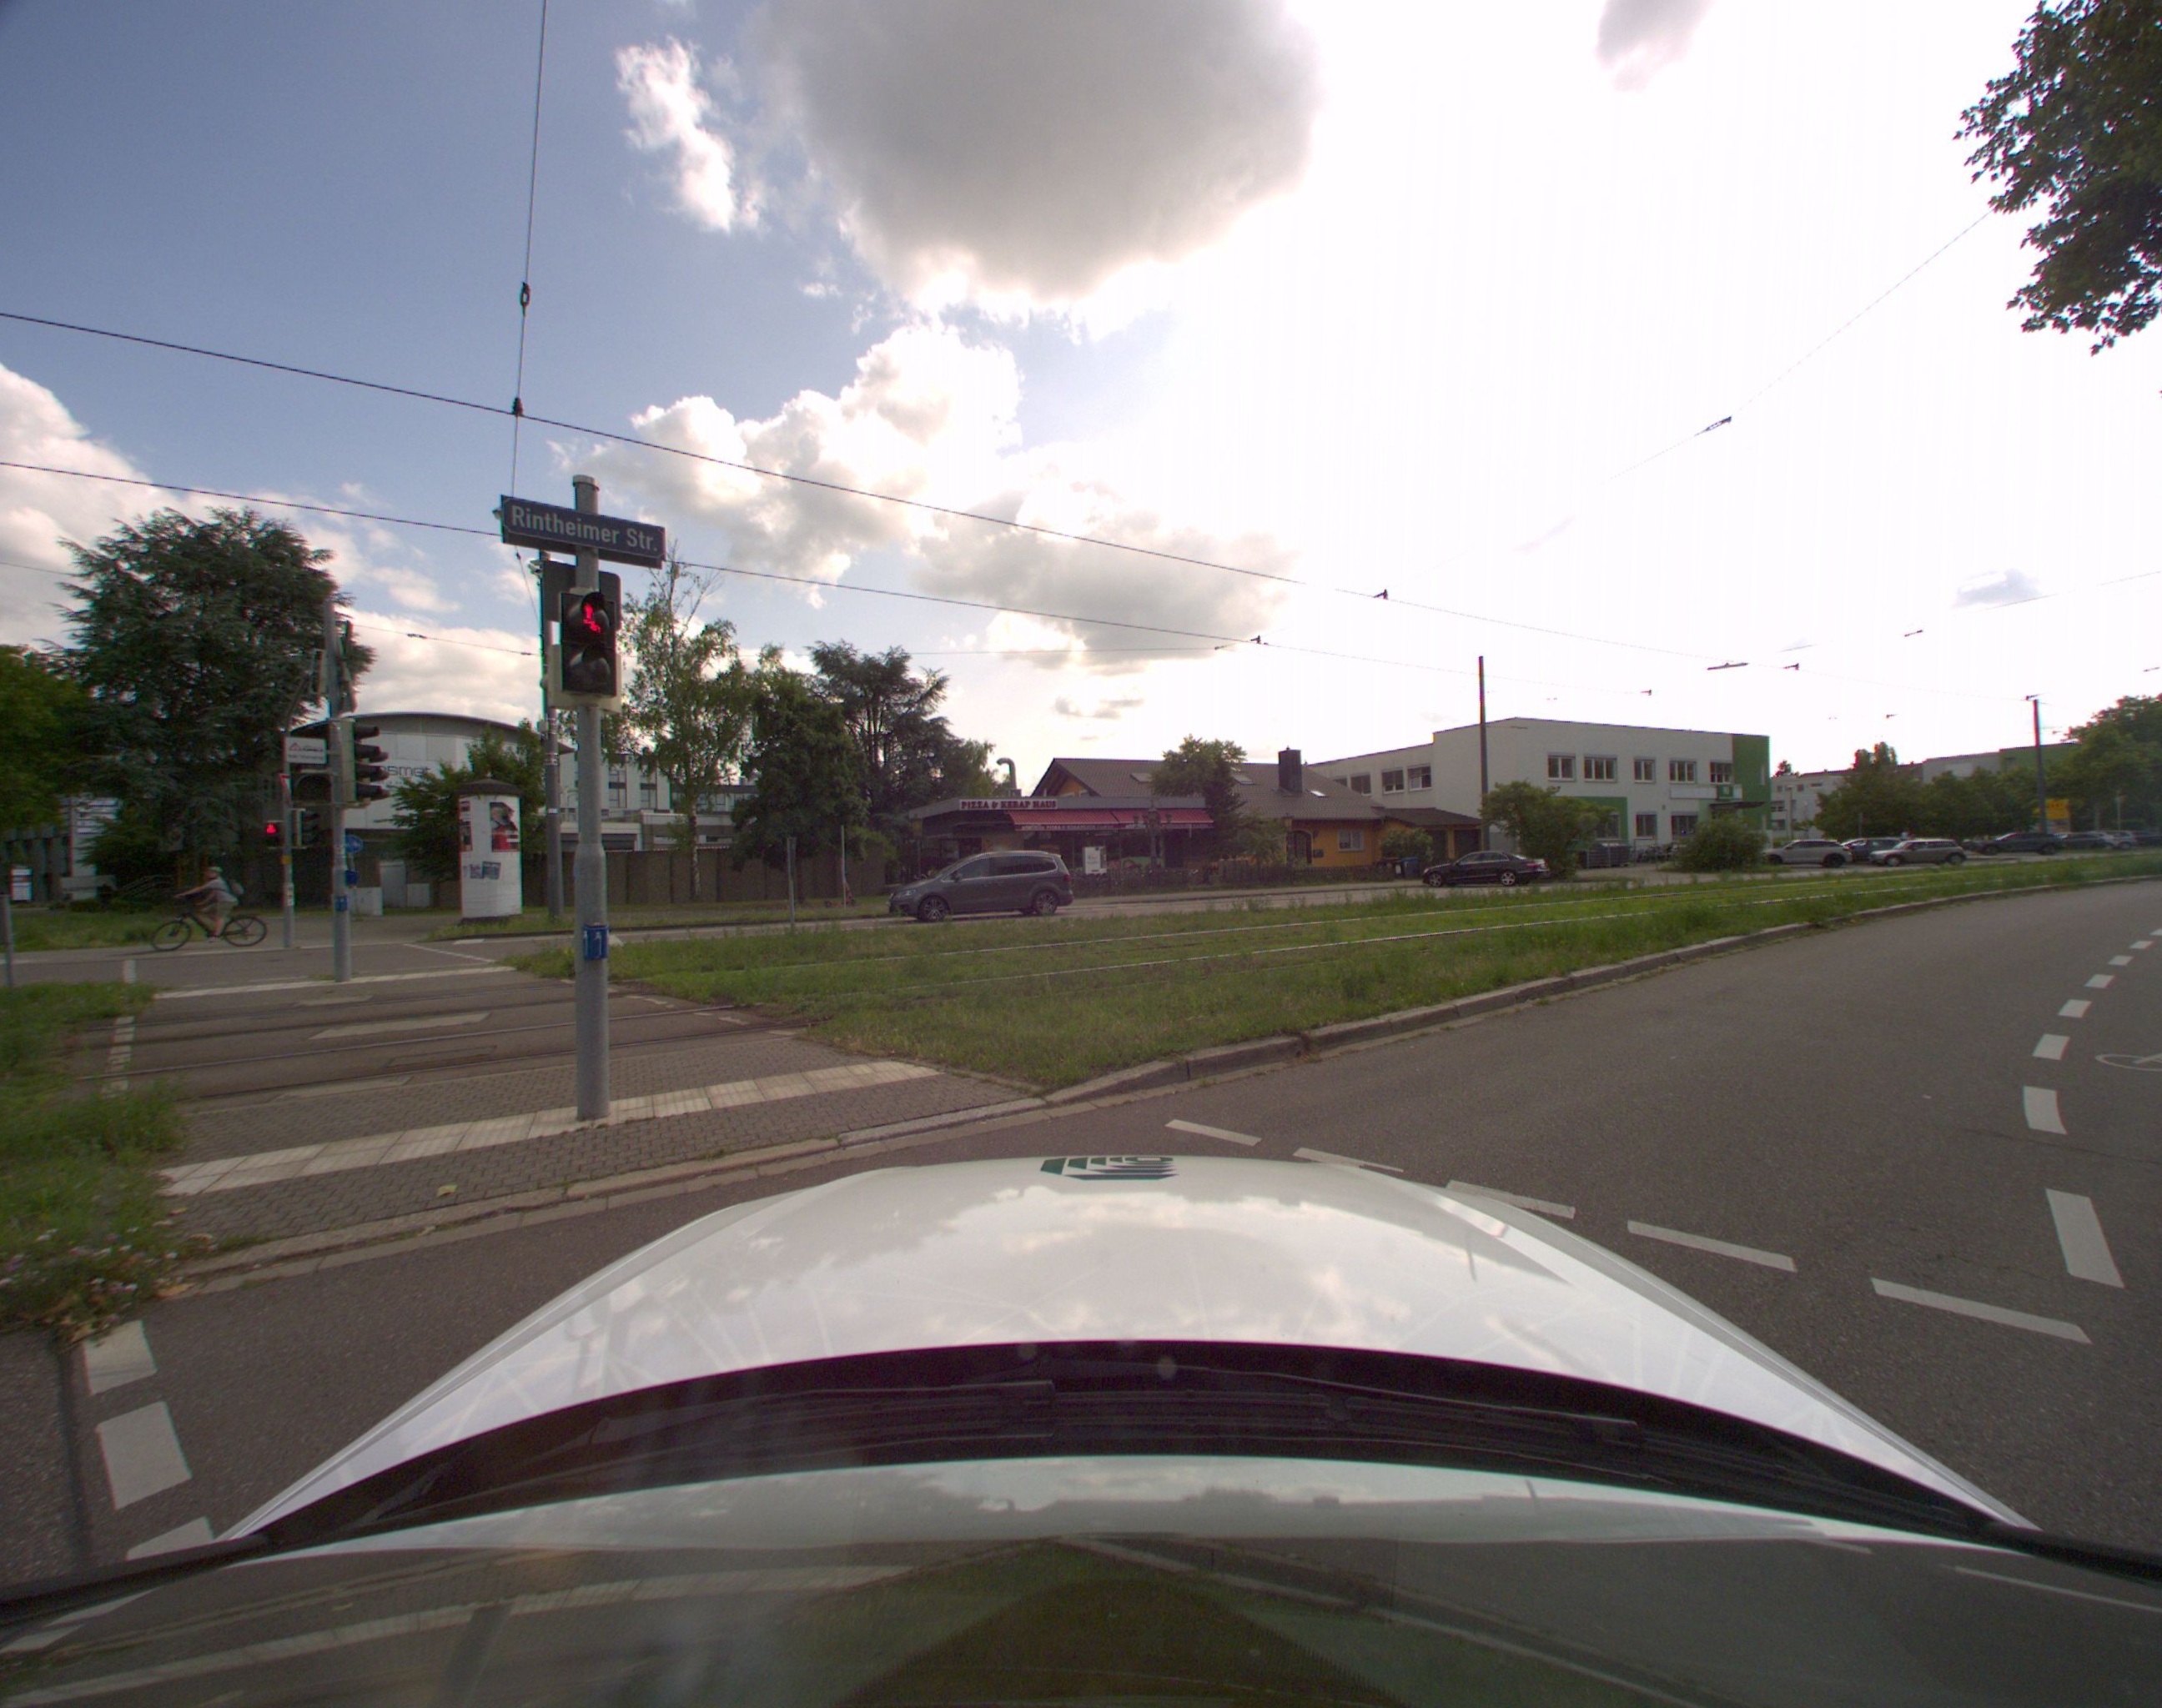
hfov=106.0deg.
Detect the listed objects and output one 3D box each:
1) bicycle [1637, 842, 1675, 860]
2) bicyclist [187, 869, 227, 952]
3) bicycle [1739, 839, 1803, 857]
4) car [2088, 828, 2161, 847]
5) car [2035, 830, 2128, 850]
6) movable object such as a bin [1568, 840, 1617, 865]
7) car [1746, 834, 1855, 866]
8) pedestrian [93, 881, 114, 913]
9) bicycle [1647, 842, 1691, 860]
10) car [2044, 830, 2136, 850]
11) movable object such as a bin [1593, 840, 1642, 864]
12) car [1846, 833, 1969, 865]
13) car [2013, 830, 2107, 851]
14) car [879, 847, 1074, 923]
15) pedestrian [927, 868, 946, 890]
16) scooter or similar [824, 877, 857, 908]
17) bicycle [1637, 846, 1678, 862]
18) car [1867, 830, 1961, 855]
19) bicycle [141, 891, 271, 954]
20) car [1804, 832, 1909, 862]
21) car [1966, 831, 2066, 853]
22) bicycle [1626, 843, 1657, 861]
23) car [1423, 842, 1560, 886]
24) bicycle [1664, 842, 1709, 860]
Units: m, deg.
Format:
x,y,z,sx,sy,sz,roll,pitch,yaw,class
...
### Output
x,y,z,sx,sy,sz,roll,pitch,yaw,class
36.167,-0.185,51.237,0.738,1.081,1.781,-2,0,-27,bicycle
-19.896,1.265,18.545,0.548,1.809,0.534,-1,1,-43,bicyclist
46.907,-0.385,55.425,1.145,1.166,3.115,-2,0,-28,bicycle
86.585,-1.351,67.124,4.260,1.364,1.913,-2,0,43,car
76.507,-1.040,62.360,4.260,1.364,1.913,-2,0,43,car
29.340,-0.075,46.746,2.118,1.326,1.367,-2,0,-21,movable object such as a bin
39.930,-0.203,45.329,4.259,1.629,1.914,-2,0,32,car
-49.867,2.184,41.556,0.552,1.569,0.626,0,1,38,pedestrian
38.794,-0.190,53.742,0.760,1.166,2.337,-2,0,-19,bicycle
78.761,-1.081,63.667,4.260,1.364,1.913,-2,0,43,car
31.352,-0.106,47.615,2.132,1.326,1.367,-2,0,-21,movable object such as a bin
44.896,-0.282,44.365,4.261,1.629,1.913,-1,0,26,car
73.401,-0.992,61.157,4.260,1.364,1.913,-2,0,43,car
-2.758,0.757,21.468,4.742,1.722,1.986,-2,0,-21,car
-6.385,1.083,35.926,0.727,0.929,0.772,-1,1,-20,pedestrian
-8.569,1.355,29.029,1.100,1.059,0.401,-1,1,-10,scooter or similar
37.879,0.017,53.564,0.731,0.970,2.144,-2,0,-20,bicycle
53.482,-0.710,52.408,4.118,1.504,1.872,-1,0,43,car
-19.902,1.534,18.582,1.963,1.235,0.534,-1,1,-43,bicycle
45.457,-0.390,47.856,4.259,1.629,1.914,-1,0,37,car
64.351,-0.835,56.168,4.260,1.364,1.914,-2,0,42,car
36.454,-0.129,52.978,0.703,1.166,1.616,-2,0,-8,bicycle
16.656,0.442,33.207,2.012,1.580,4.523,-1,-1,-45,car
40.007,-0.195,53.829,0.748,1.166,2.404,-2,0,-17,bicycle
